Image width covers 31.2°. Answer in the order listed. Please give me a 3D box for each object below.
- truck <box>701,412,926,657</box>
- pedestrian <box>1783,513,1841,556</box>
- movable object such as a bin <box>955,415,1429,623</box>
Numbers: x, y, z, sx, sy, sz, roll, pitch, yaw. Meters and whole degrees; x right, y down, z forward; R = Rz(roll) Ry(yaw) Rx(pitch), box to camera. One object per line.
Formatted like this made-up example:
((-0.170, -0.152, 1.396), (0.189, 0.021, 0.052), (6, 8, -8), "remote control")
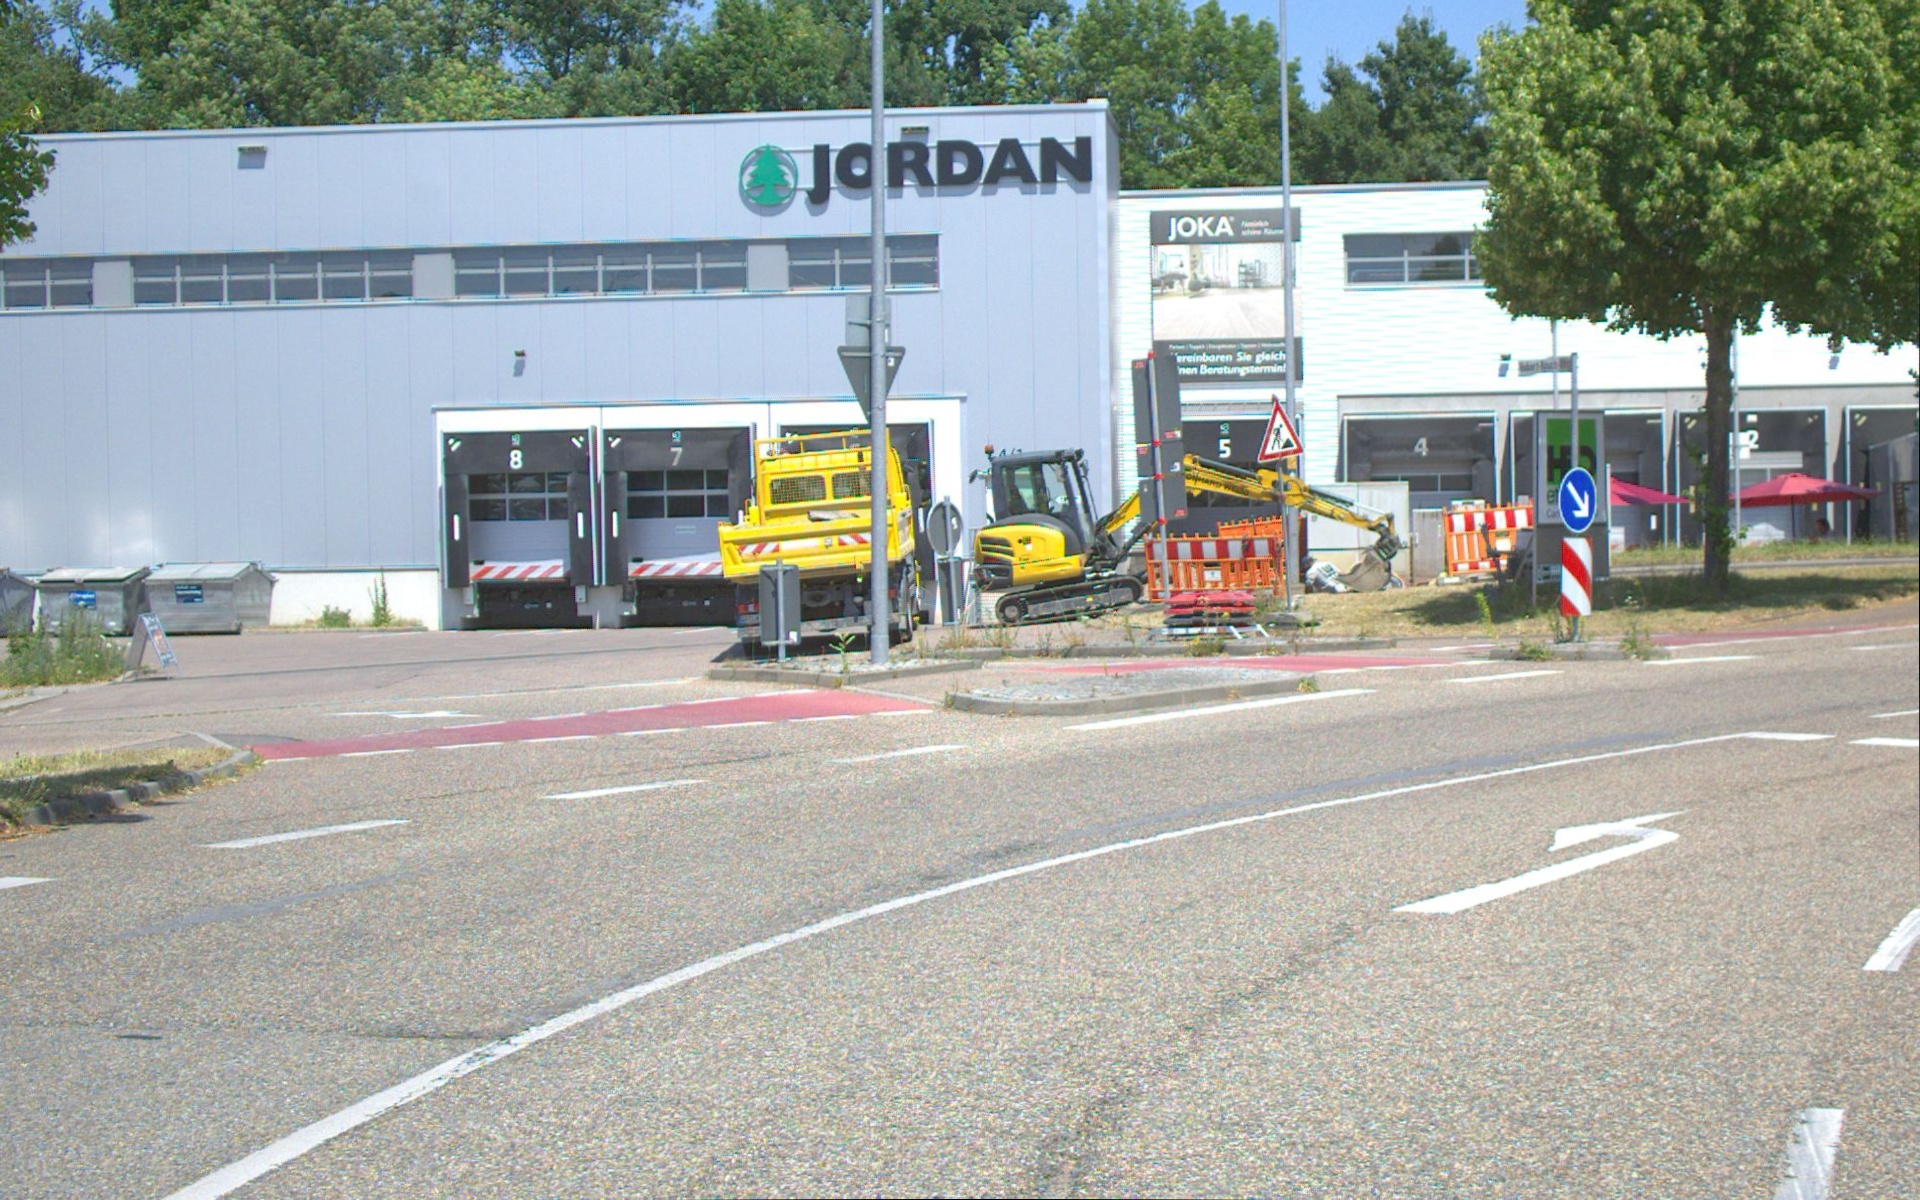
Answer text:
((-2.023, -1.053, 49.842), (2.587, 3.125, 6.425), (-4, 3, 2), "truck")
((14.595, -1.121, 58.875), (0.865, 0.693, 0.407), (-2, 1, 29), "pedestrian")
((3.404, -1.150, 50.087), (6.559, 2.572, 1.999), (-3, 0, 11), "movable object such as a bin")
